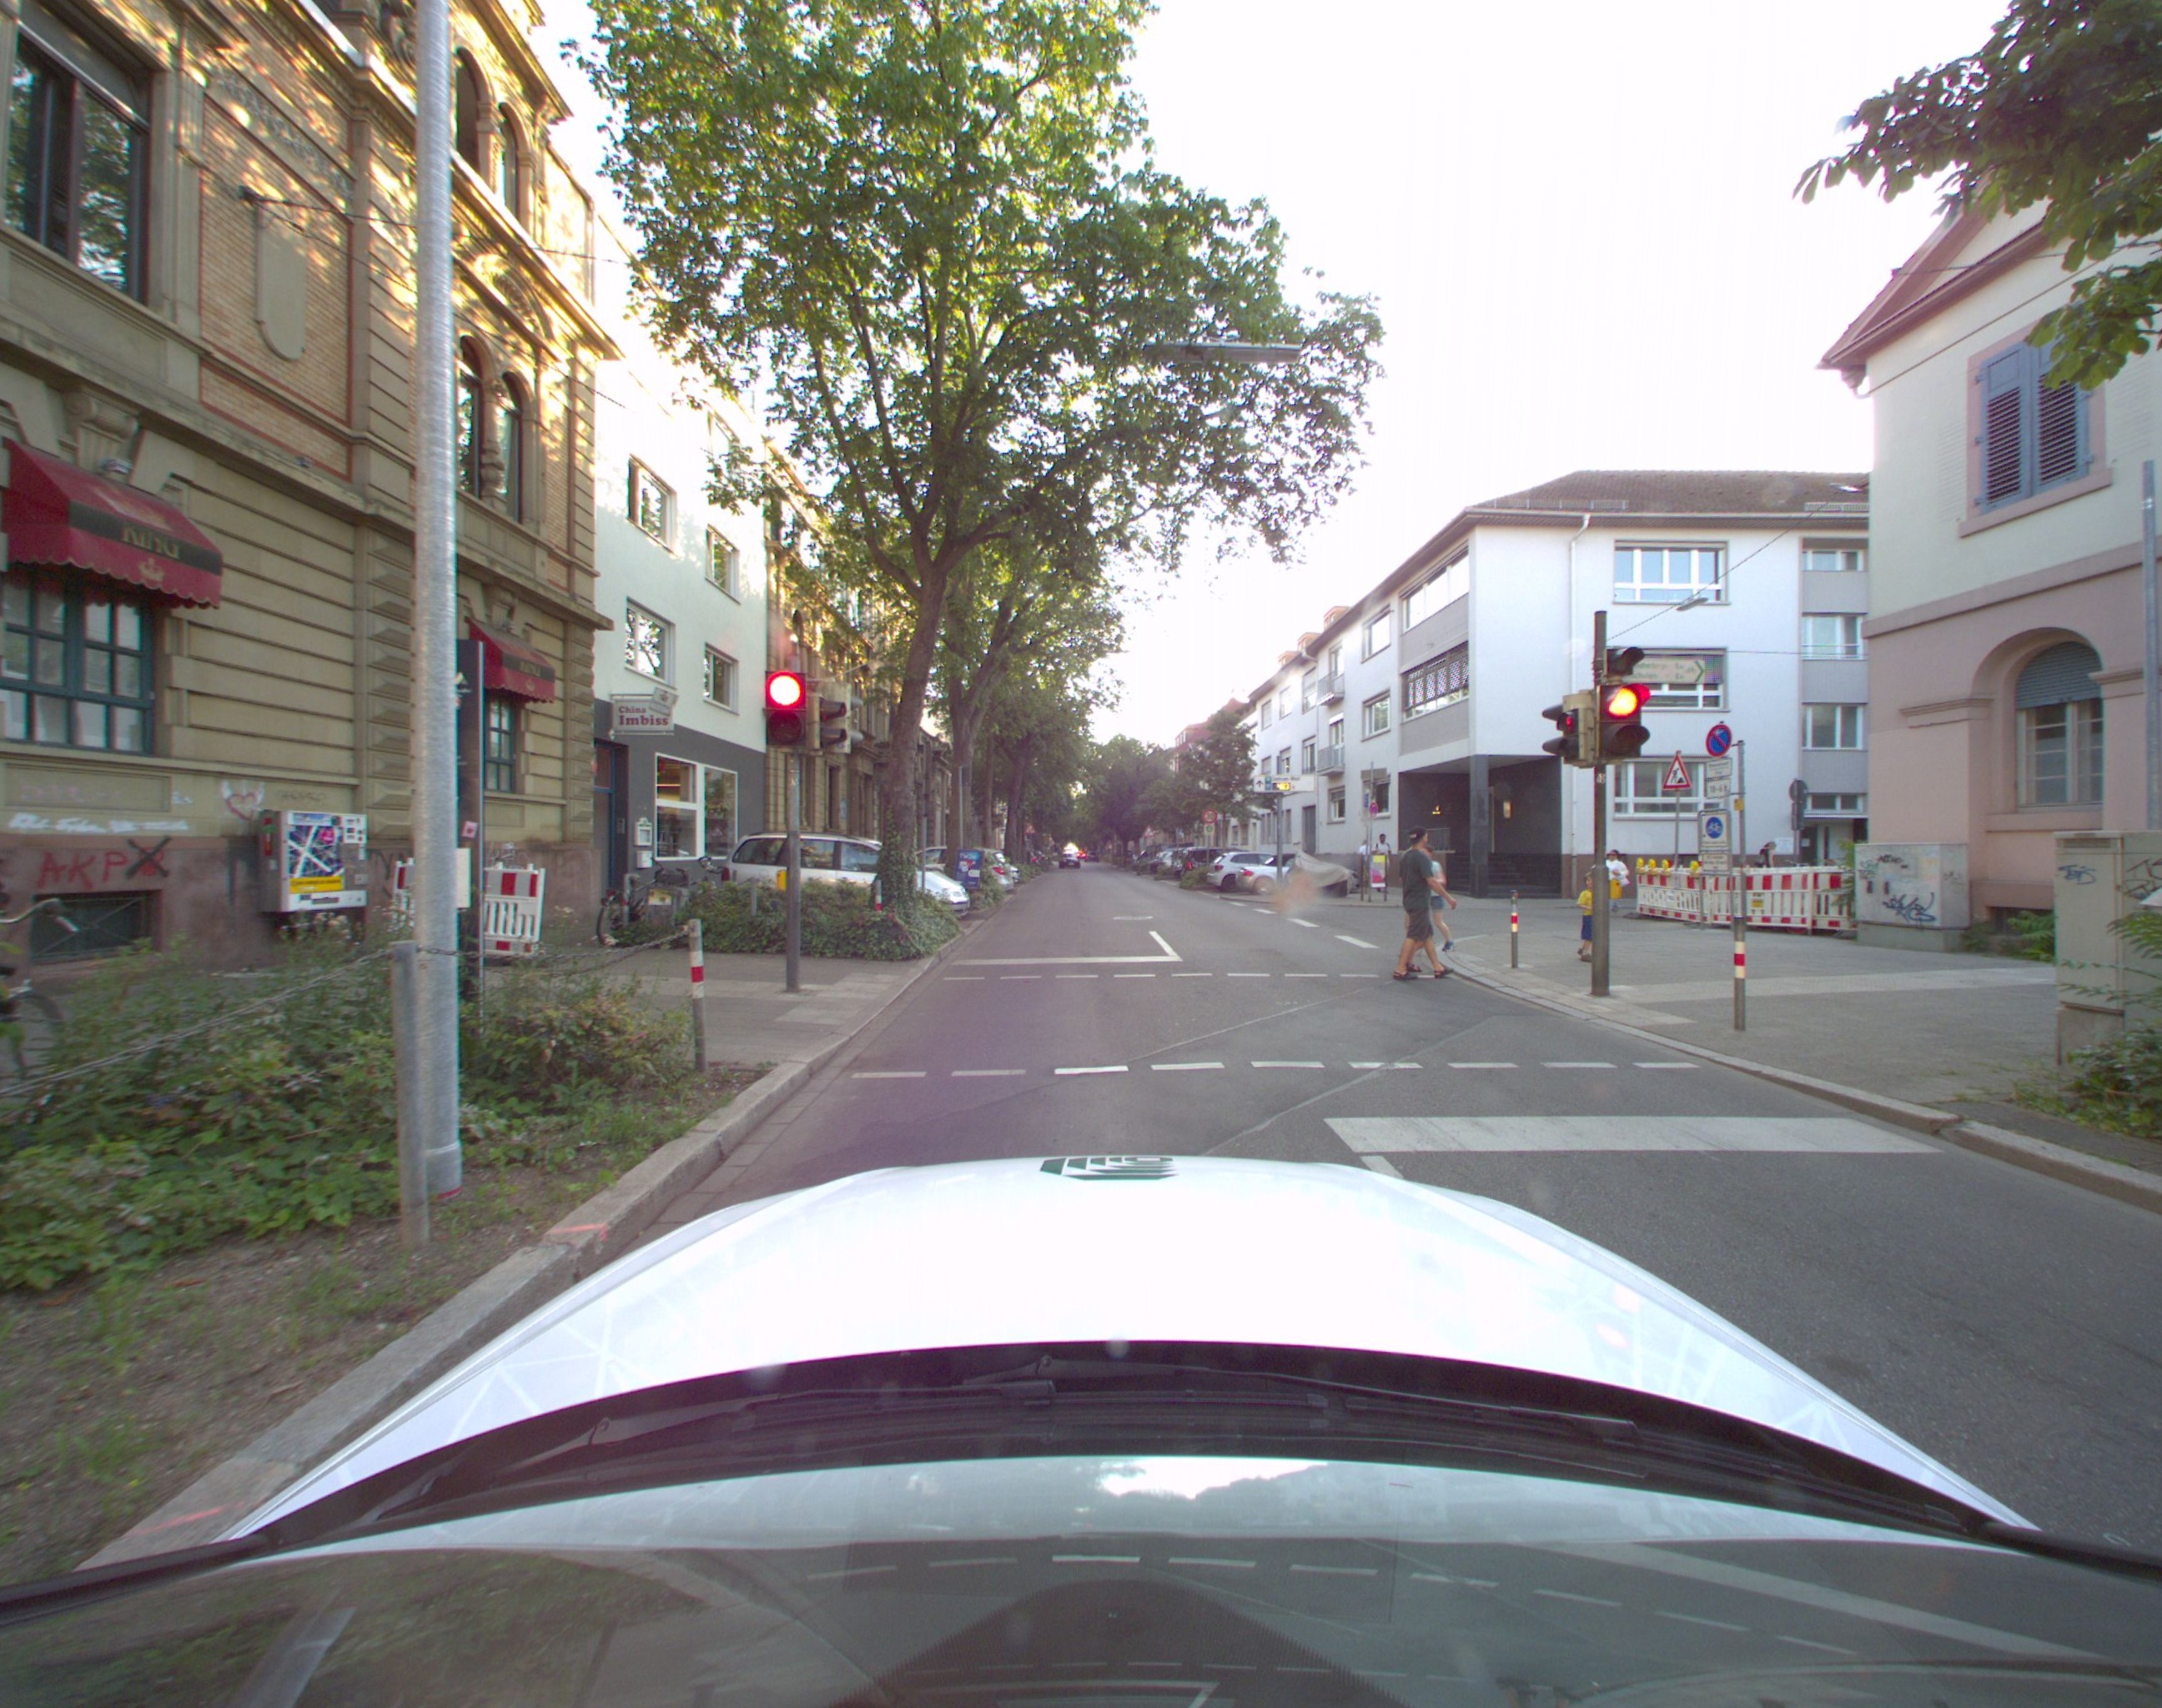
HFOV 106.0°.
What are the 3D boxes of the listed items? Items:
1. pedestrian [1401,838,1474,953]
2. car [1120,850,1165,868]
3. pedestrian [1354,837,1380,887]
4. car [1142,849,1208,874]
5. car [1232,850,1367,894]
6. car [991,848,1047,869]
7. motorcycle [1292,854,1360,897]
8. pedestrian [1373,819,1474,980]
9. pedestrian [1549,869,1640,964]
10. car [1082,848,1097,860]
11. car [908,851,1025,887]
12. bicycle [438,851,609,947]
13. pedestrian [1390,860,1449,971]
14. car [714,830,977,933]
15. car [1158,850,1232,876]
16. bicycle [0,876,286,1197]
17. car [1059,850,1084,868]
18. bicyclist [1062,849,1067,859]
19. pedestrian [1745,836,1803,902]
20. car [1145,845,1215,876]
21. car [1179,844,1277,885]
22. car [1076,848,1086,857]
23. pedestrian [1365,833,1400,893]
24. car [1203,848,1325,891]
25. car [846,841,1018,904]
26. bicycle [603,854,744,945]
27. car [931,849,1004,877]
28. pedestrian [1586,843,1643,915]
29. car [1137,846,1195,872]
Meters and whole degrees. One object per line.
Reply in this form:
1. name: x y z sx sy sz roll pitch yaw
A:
1. pedestrian: 5.071 0.552 11.568 0.692 1.557 0.986 1 0 40
2. car: 5.621 0.424 74.426 4.003 1.602 1.706 0 0 -1
3. pedestrian: 10.195 0.275 29.082 0.701 1.752 0.700 0 0 3
4. car: 6.004 0.471 52.162 4.003 1.530 1.706 0 0 -1
5. car: 7.104 0.565 26.749 4.002 1.342 1.706 -1 0 -1
6. car: -5.201 0.382 68.330 4.534 1.691 1.833 0 0 -1
7. motorcycle: 7.056 0.618 23.513 1.790 1.199 0.614 -1 0 8
8. pedestrian: 4.015 0.508 9.611 0.884 1.815 0.795 0 0 4
9. pedestrian: 6.583 0.773 10.465 0.565 1.121 0.834 -2 1 -11
10. car: 1.113 0.018 106.046 1.820 1.561 4.025 1 0 -2
11. car: -4.651 0.593 33.524 4.534 1.372 1.833 0 0 -1
12. bicycle: -7.811 0.569 11.614 0.634 1.202 2.564 0 0 1
13. pedestrian: 4.176 0.742 10.069 0.537 1.335 0.507 0 0 4
14. car: -4.371 0.484 15.693 4.538 1.835 1.831 0 0 -4
15. car: 6.545 0.501 47.014 4.003 1.409 1.706 -1 0 -1
16. bicycle: -4.292 0.703 3.075 0.509 1.153 2.100 2 0 -1
17. car: -0.920 0.474 75.337 1.902 1.578 3.982 1 0 -6
18. bicyclist: -2.360 0.011 115.156 0.570 1.470 0.641 1 -1 -7
19. pedestrian: 18.891 0.388 22.222 0.766 1.752 0.933 0 0 0
20. car: 5.979 0.383 49.305 4.003 1.815 1.706 -1 0 -1
21. car: 6.426 0.446 35.795 4.003 1.690 1.706 -1 0 -1
22. car: 0.016 -0.295 157.856 1.919 1.660 3.998 0 0 -1
23. pedestrian: 9.527 0.273 25.760 0.764 1.841 0.943 0 0 0
24. car: 6.544 0.529 29.338 4.003 1.442 1.706 -1 0 -1
25. car: -4.145 0.507 23.247 4.534 1.689 1.833 0 0 -1
26. bicycle: -5.983 0.604 12.182 0.732 1.186 2.634 1 0 0
27. car: -6.611 0.496 47.757 4.026 1.590 1.833 0 0 -1
28. pedestrian: 11.546 0.535 17.623 0.805 1.501 0.768 -1 -1 -36
29. car: 6.176 0.348 59.448 4.003 1.830 1.706 0 0 -1
